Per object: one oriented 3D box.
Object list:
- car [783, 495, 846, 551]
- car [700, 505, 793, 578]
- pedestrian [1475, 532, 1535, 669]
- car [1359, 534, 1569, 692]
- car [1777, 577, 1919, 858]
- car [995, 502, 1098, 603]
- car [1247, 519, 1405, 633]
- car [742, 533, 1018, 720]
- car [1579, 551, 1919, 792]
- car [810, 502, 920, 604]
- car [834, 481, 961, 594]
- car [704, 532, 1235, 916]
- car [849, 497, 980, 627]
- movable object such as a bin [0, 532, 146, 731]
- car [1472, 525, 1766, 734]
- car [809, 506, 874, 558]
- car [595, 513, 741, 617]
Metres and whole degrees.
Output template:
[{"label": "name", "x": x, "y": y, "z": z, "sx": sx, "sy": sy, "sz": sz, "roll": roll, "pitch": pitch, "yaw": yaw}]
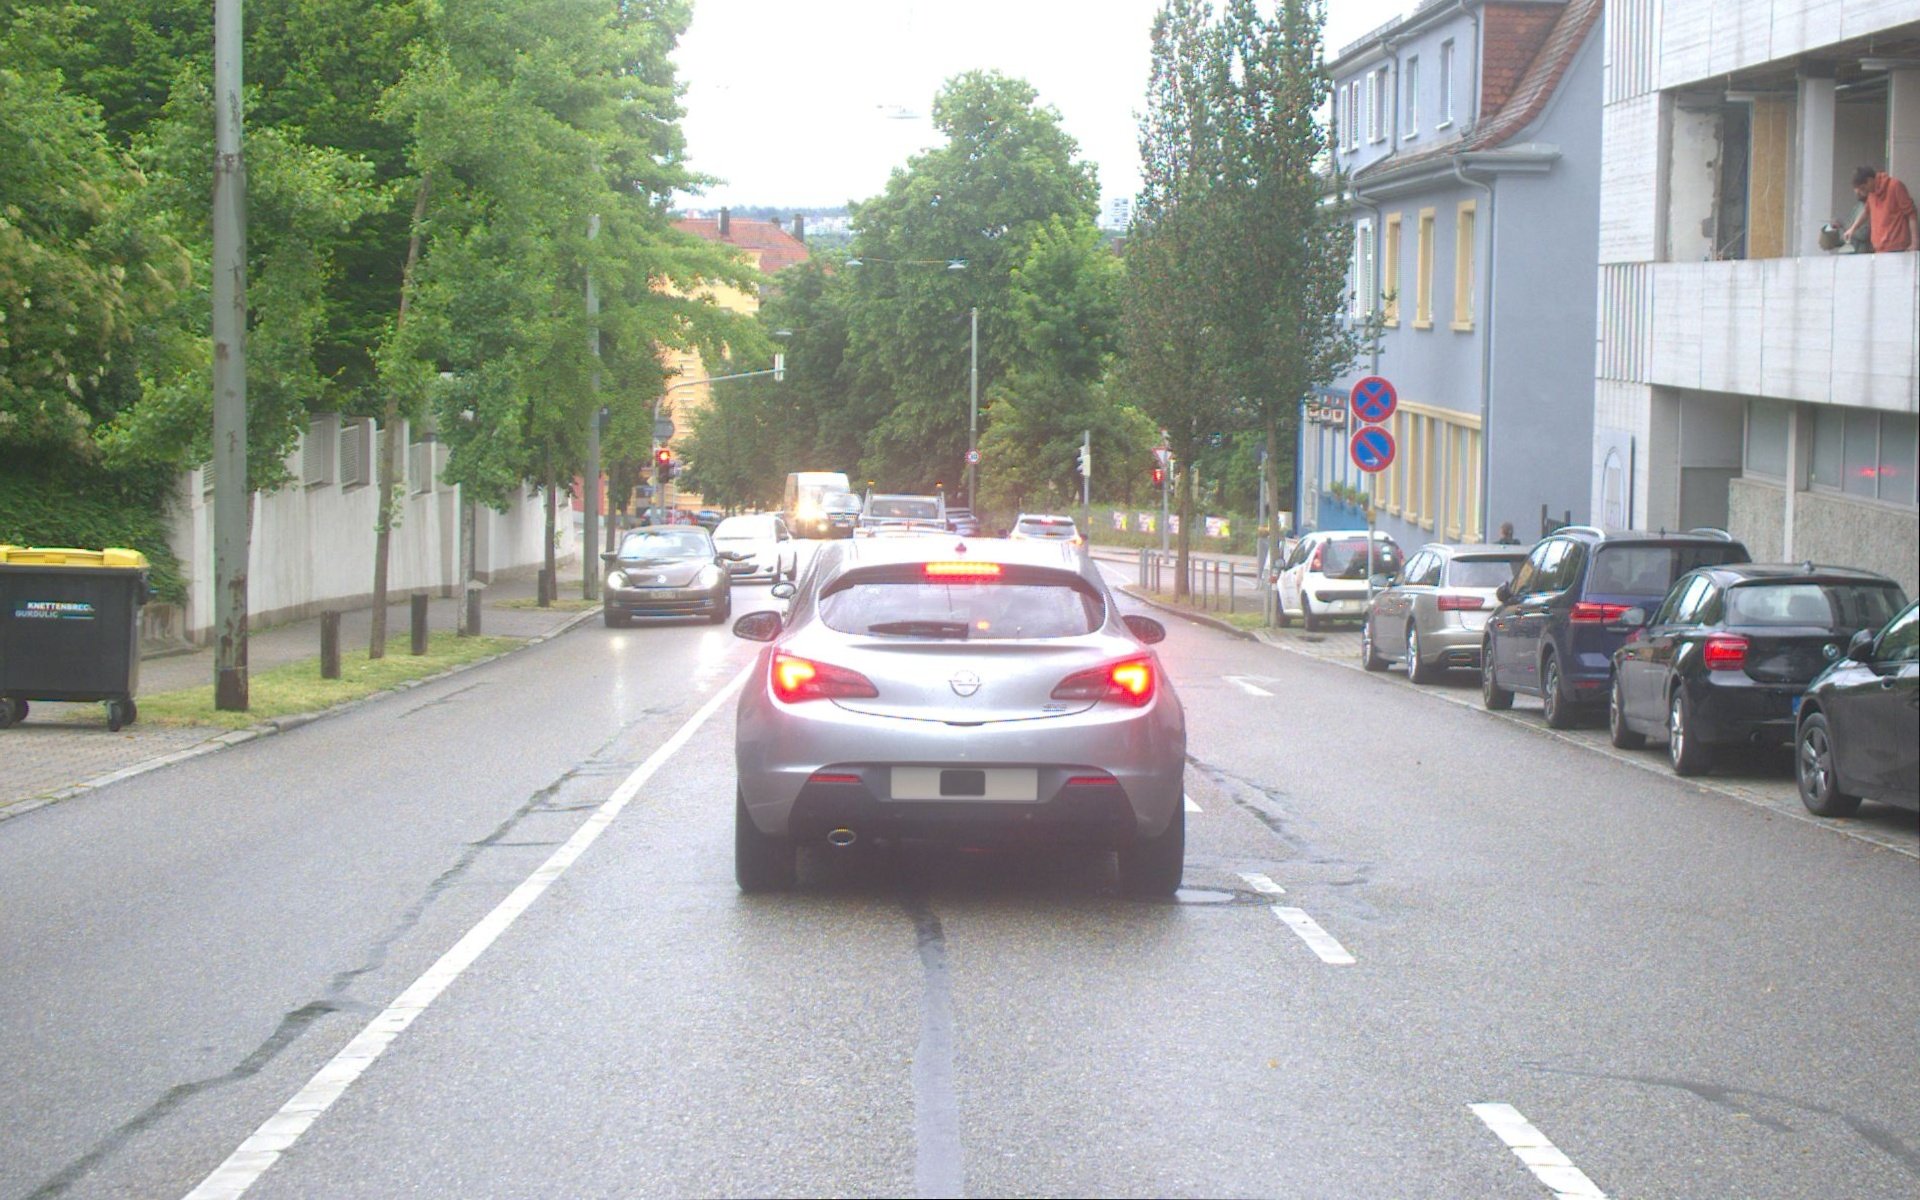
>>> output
[{"label": "car", "x": -5.183, "y": -2.771, "z": 123.231, "sx": 1.993, "sy": 1.778, "sz": 4.001, "roll": 4, "pitch": 2, "yaw": 0}, {"label": "car", "x": -4.761, "y": -1.333, "z": 77.113, "sx": 1.822, "sy": 1.474, "sz": 3.864, "roll": -2, "pitch": 2, "yaw": 0}, {"label": "pedestrian", "x": 7.211, "y": 0.004, "z": 45.476, "sx": 0.645, "sy": 1.778, "sz": 0.542, "roll": 1, "pitch": 2, "yaw": 0}, {"label": "car", "x": 5.293, "y": 0.088, "z": 36.569, "sx": 1.584, "sy": 1.488, "sz": 4.290, "roll": 0, "pitch": 2, "yaw": 0}, {"label": "car", "x": 5.716, "y": 0.617, "z": 18.553, "sx": 1.503, "sy": 1.430, "sz": 4.001, "roll": 0, "pitch": 1, "yaw": -2}, {"label": "car", "x": 1.938, "y": -1.111, "z": 78.343, "sx": 1.993, "sy": 2.029, "sz": 4.736, "roll": 4, "pitch": 2, "yaw": -1}, {"label": "car", "x": 5.411, "y": -0.387, "z": 51.266, "sx": 1.906, "sy": 1.565, "sz": 4.001, "roll": 0, "pitch": 2, "yaw": 0}, {"label": "car", "x": -0.711, "y": 0.165, "z": 27.354, "sx": 1.797, "sy": 1.318, "sz": 4.001, "roll": 2, "pitch": 1, "yaw": -6}, {"label": "car", "x": 5.584, "y": 0.439, "z": 24.284, "sx": 1.681, "sy": 1.459, "sz": 4.001, "roll": 0, "pitch": 2, "yaw": 0}, {"label": "car", "x": -1.729, "y": -0.863, "z": 61.398, "sx": 1.754, "sy": 1.645, "sz": 4.001, "roll": 4, "pitch": 1, "yaw": -3}, {"label": "car", "x": -1.254, "y": -1.304, "z": 69.625, "sx": 2.334, "sy": 2.029, "sz": 4.735, "roll": 4, "pitch": 2, "yaw": -1}, {"label": "car", "x": -0.101, "y": 0.446, "z": 15.190, "sx": 1.945, "sy": 1.427, "sz": 3.885, "roll": 1, "pitch": 1, "yaw": -5}, {"label": "car", "x": -0.749, "y": -0.632, "z": 53.406, "sx": 1.768, "sy": 1.775, "sz": 3.977, "roll": 4, "pitch": 2, "yaw": -3}, {"label": "movable object such as a bin", "x": -6.654, "y": 0.221, "z": 25.117, "sx": 1.272, "sy": 1.382, "sz": 0.489, "roll": 2, "pitch": 2, "yaw": -3}, {"label": "car", "x": 5.471, "y": 0.187, "z": 28.990, "sx": 1.686, "sy": 1.565, "sz": 4.001, "roll": 0, "pitch": 2, "yaw": 0}, {"label": "car", "x": -3.972, "y": -2.298, "z": 115.934, "sx": 1.993, "sy": 1.530, "sz": 4.309, "roll": 4, "pitch": 2, "yaw": -1}, {"label": "car", "x": -4.418, "y": -0.557, "z": 52.520, "sx": 1.850, "sy": 1.464, "sz": 4.088, "roll": -2, "pitch": 1, "yaw": 0}]
